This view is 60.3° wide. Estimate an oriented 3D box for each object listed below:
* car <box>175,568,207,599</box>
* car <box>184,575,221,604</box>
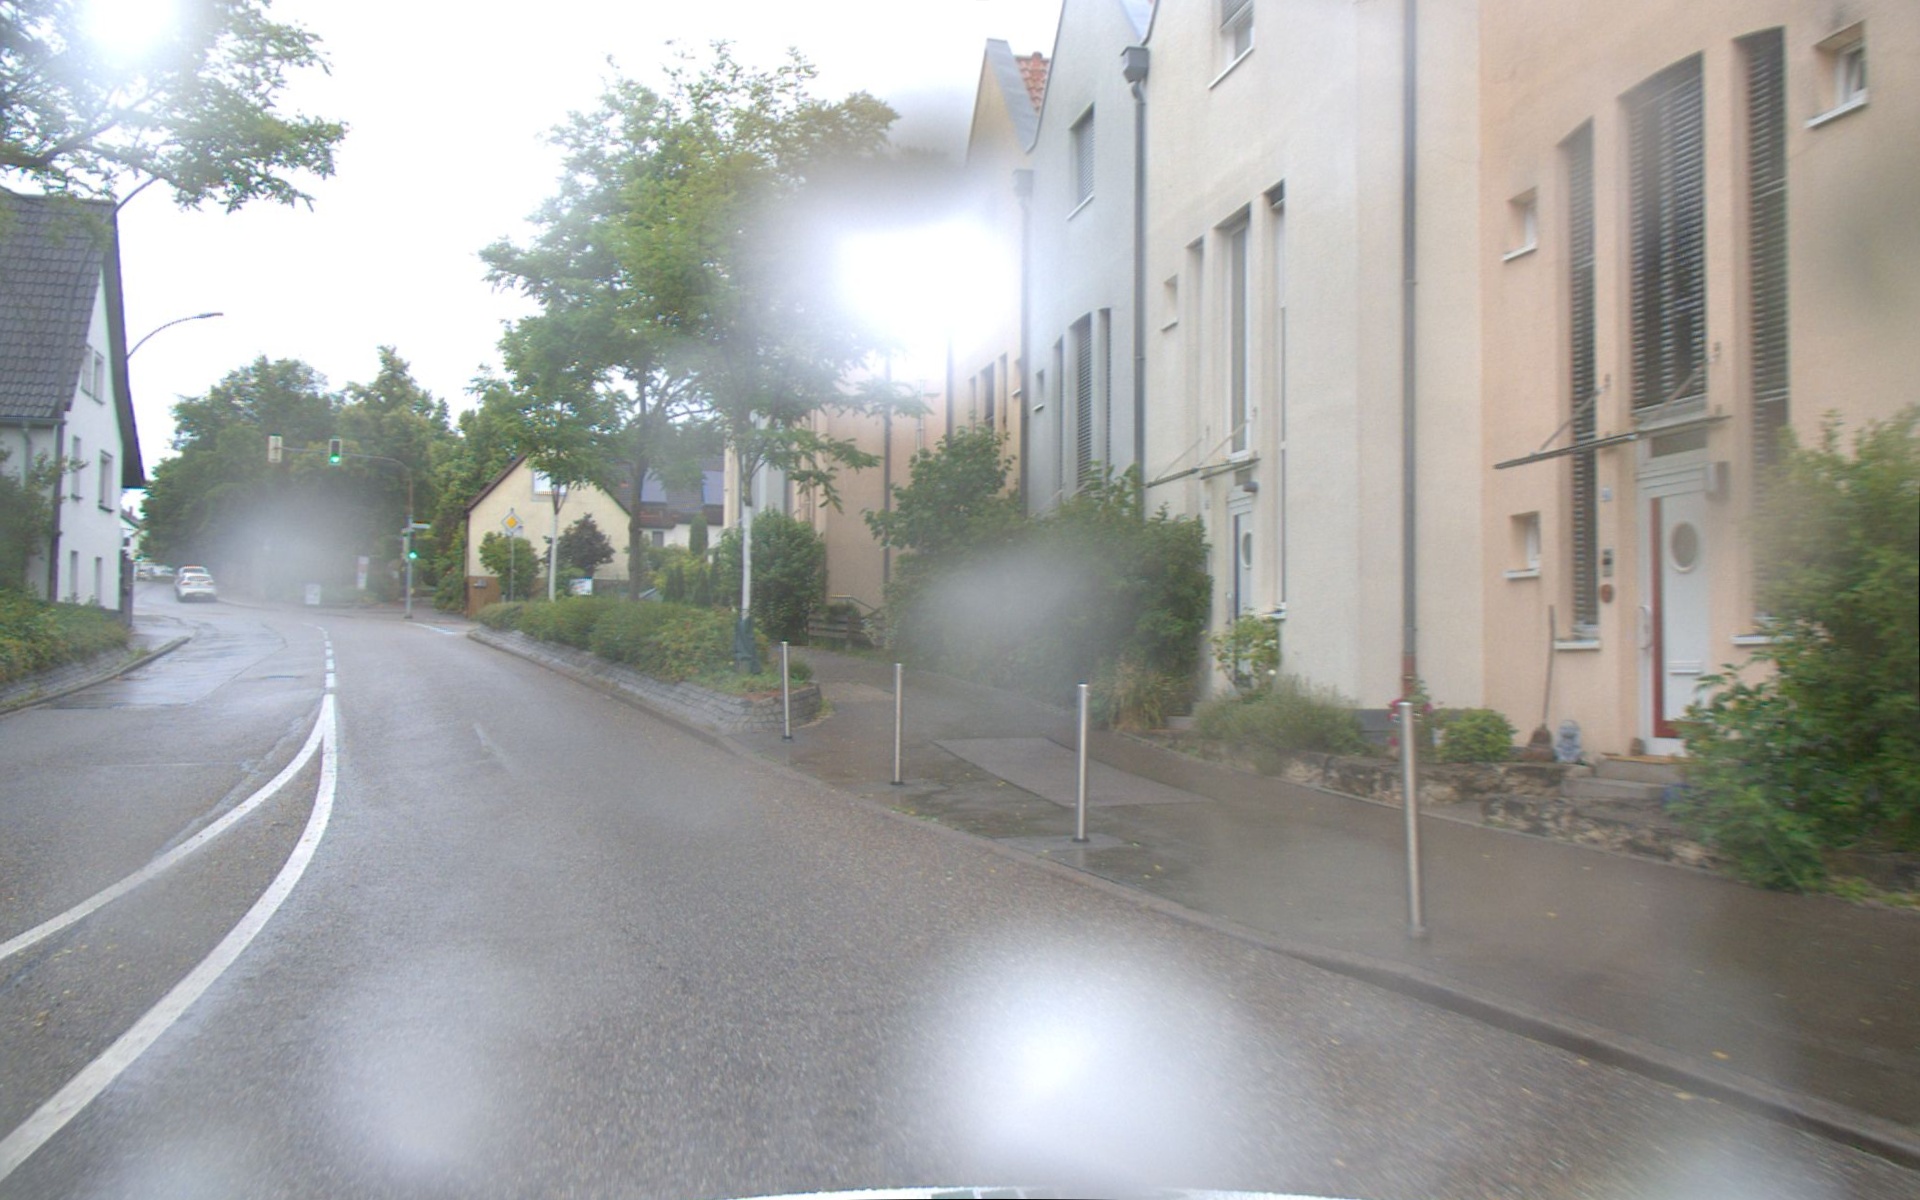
[{"bbox_3d":[-45.147,-0.961,97.147,1.616,1.771,4.103,1,0,-25],"label":"car"},{"bbox_3d":[-40.218,-0.572,87.751,1.593,1.506,4.002,1,0,-27],"label":"car"}]
